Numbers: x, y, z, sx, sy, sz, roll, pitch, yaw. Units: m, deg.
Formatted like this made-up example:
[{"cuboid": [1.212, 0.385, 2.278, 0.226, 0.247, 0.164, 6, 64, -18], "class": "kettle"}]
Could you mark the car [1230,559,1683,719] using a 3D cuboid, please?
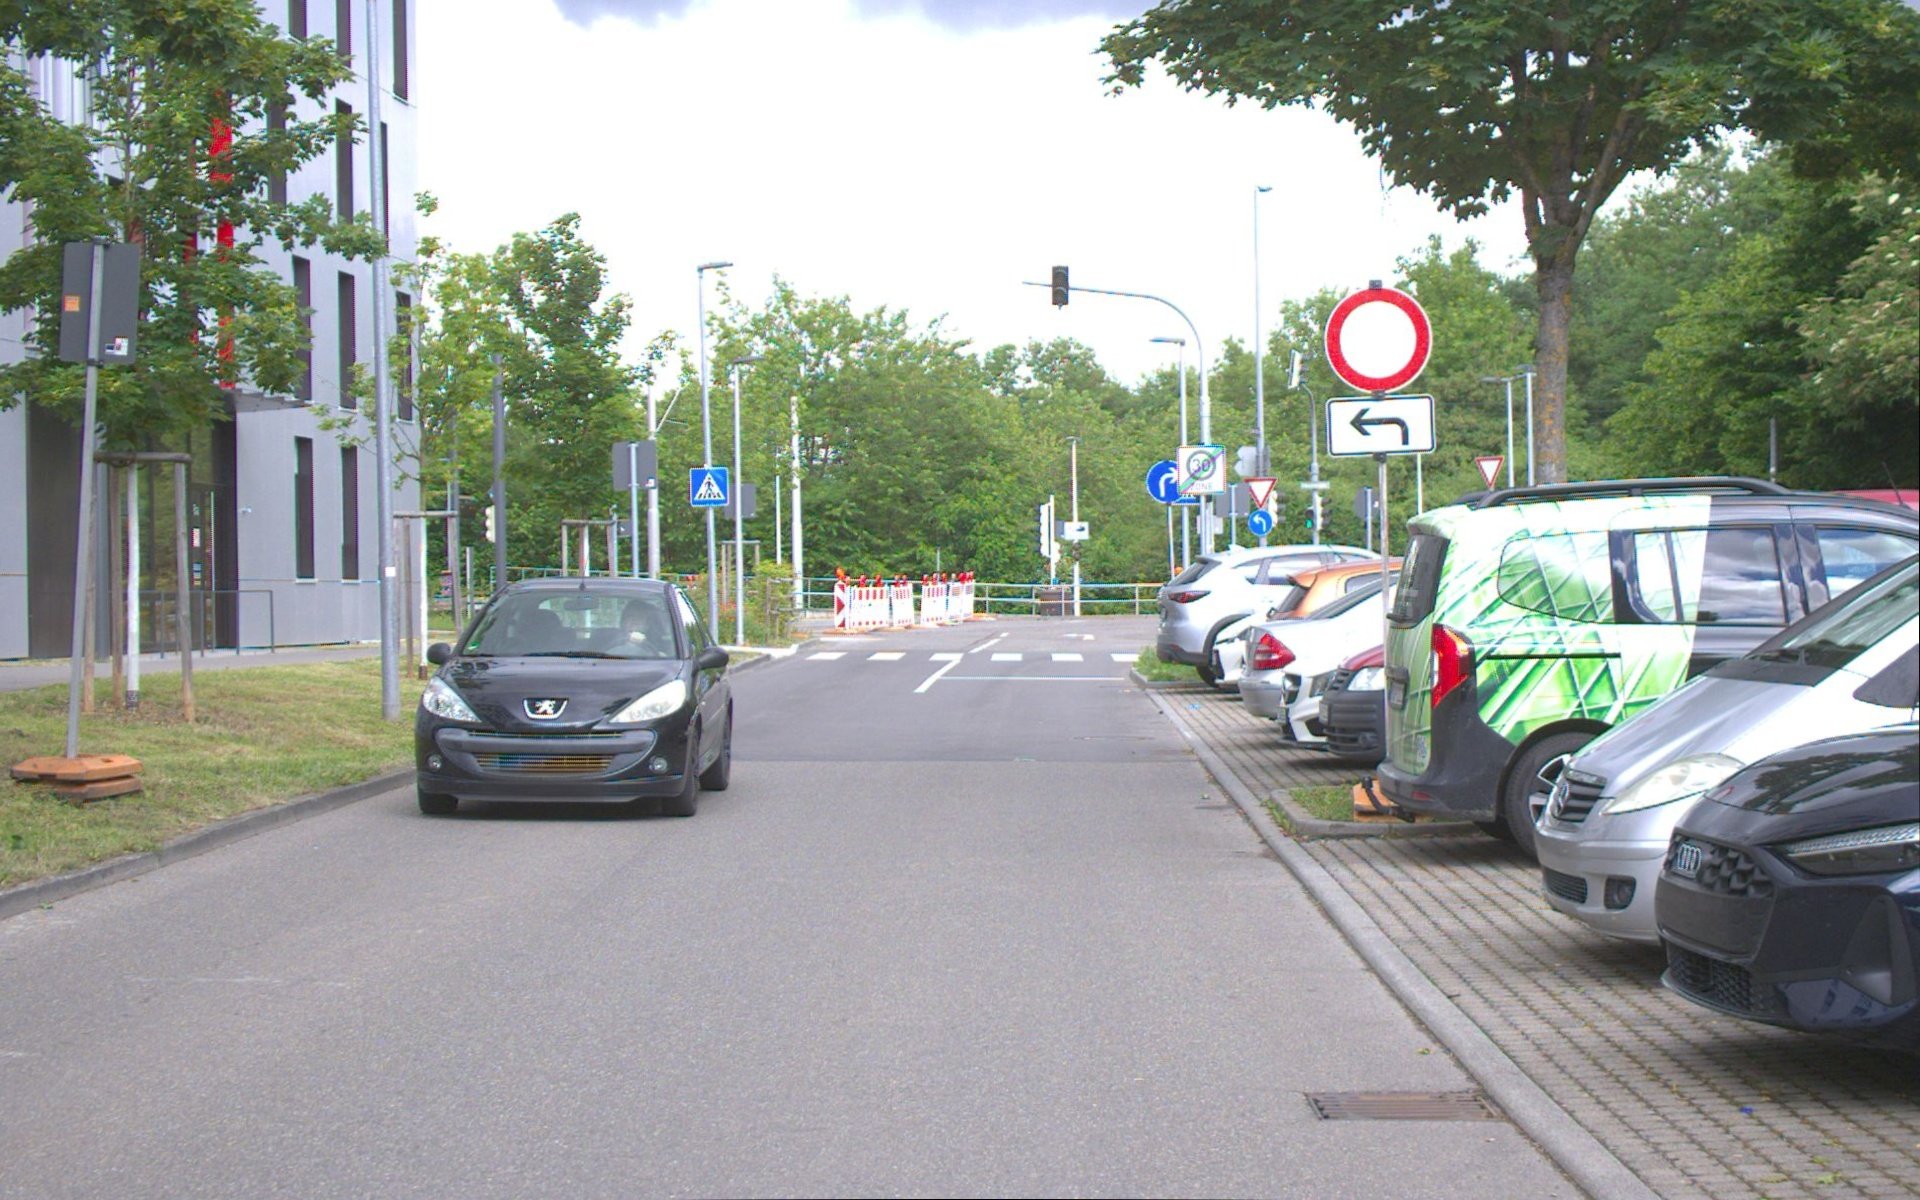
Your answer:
[{"cuboid": [5.055, 0.379, 35.433, 4.378, 1.577, 1.916, 0, 1, 0], "class": "car"}]

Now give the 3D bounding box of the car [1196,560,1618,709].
[{"cuboid": [4.866, 0.360, 37.851, 4.378, 1.577, 1.916, 0, 1, 0], "class": "car"}]

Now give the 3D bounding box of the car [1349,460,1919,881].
[{"cuboid": [4.289, 0.283, 17.232, 4.378, 1.897, 1.916, -2, 1, 0], "class": "car"}]

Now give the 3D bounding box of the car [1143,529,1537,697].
[{"cuboid": [4.394, 0.133, 40.223, 4.378, 1.897, 1.916, 0, 1, 0], "class": "car"}]

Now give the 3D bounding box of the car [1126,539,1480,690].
[{"cuboid": [4.409, 0.177, 44.639, 4.378, 1.897, 1.916, 0, 1, 0], "class": "car"}]

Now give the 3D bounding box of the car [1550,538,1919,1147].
[{"cuboid": [4.282, 0.519, 9.783, 4.724, 1.493, 2.112, -2, 1, -3], "class": "car"}]

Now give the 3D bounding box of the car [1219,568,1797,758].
[{"cuboid": [4.380, 0.487, 27.987, 4.378, 1.470, 1.916, 0, 1, 0], "class": "car"}]

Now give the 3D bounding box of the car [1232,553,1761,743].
[{"cuboid": [4.693, 0.400, 30.541, 4.378, 1.612, 1.916, 0, 1, 0], "class": "car"}]

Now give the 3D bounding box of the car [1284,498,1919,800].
[{"cuboid": [4.443, 0.301, 22.795, 4.378, 1.897, 1.936, 0, 1, 0], "class": "car"}]

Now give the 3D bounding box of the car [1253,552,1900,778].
[{"cuboid": [4.430, 0.460, 25.196, 4.378, 1.568, 1.916, 0, 0, 0], "class": "car"}]

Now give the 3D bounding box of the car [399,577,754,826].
[{"cuboid": [-2.305, 0.566, 21.572, 1.609, 1.383, 4.000, 1, 1, 2], "class": "car"}]

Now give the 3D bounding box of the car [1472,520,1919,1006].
[{"cuboid": [4.212, 0.470, 12.412, 4.378, 1.571, 1.916, -2, 1, 0], "class": "car"}]
